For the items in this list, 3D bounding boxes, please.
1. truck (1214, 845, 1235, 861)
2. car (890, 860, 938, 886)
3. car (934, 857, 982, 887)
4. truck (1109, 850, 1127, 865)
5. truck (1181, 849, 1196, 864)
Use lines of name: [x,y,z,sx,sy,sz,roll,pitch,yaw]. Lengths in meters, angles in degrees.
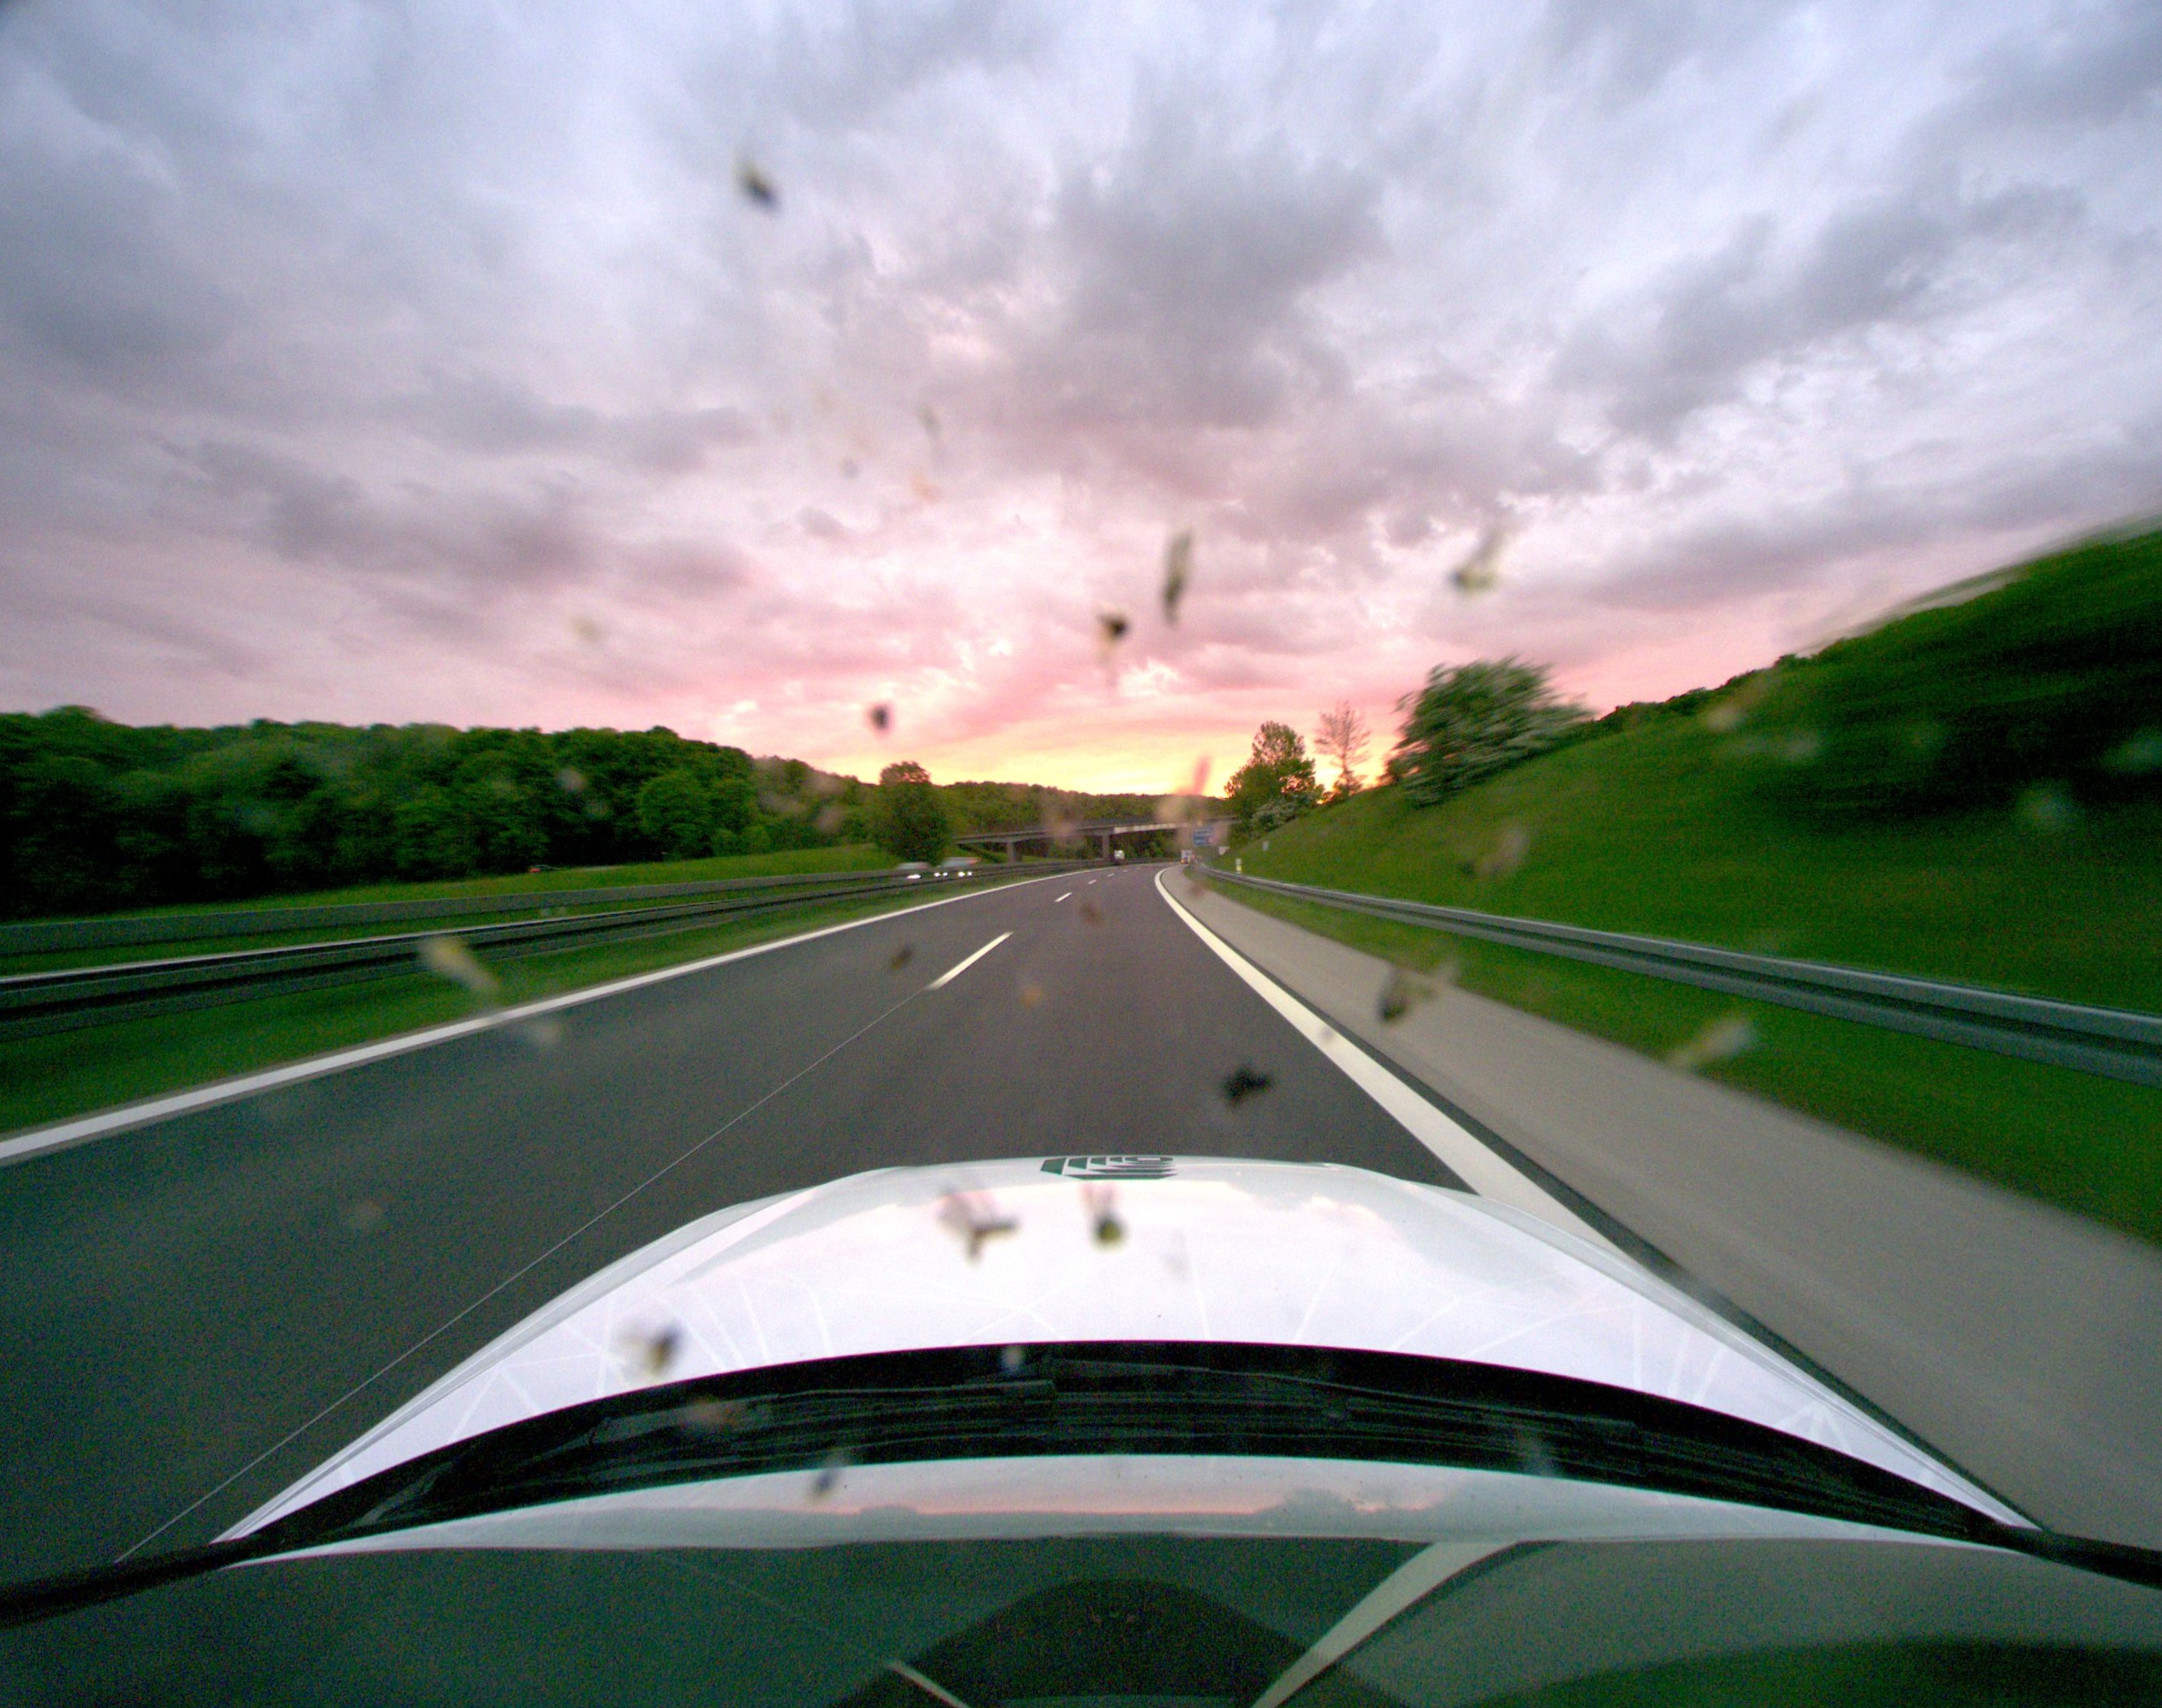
truck: [39.710,-0.267,224.788,3.927,4.287,14.388,-2,0,17]
car: [-11.345,1.249,55.642,2.016,1.659,4.676,-2,0,4]
car: [-8.366,1.172,55.735,2.093,1.872,5.138,-2,0,4]
truck: [7.987,0.835,174.433,2.594,3.110,6.691,-1,0,12]
truck: [21.182,0.490,160.398,2.260,2.665,5.254,-3,1,12]
